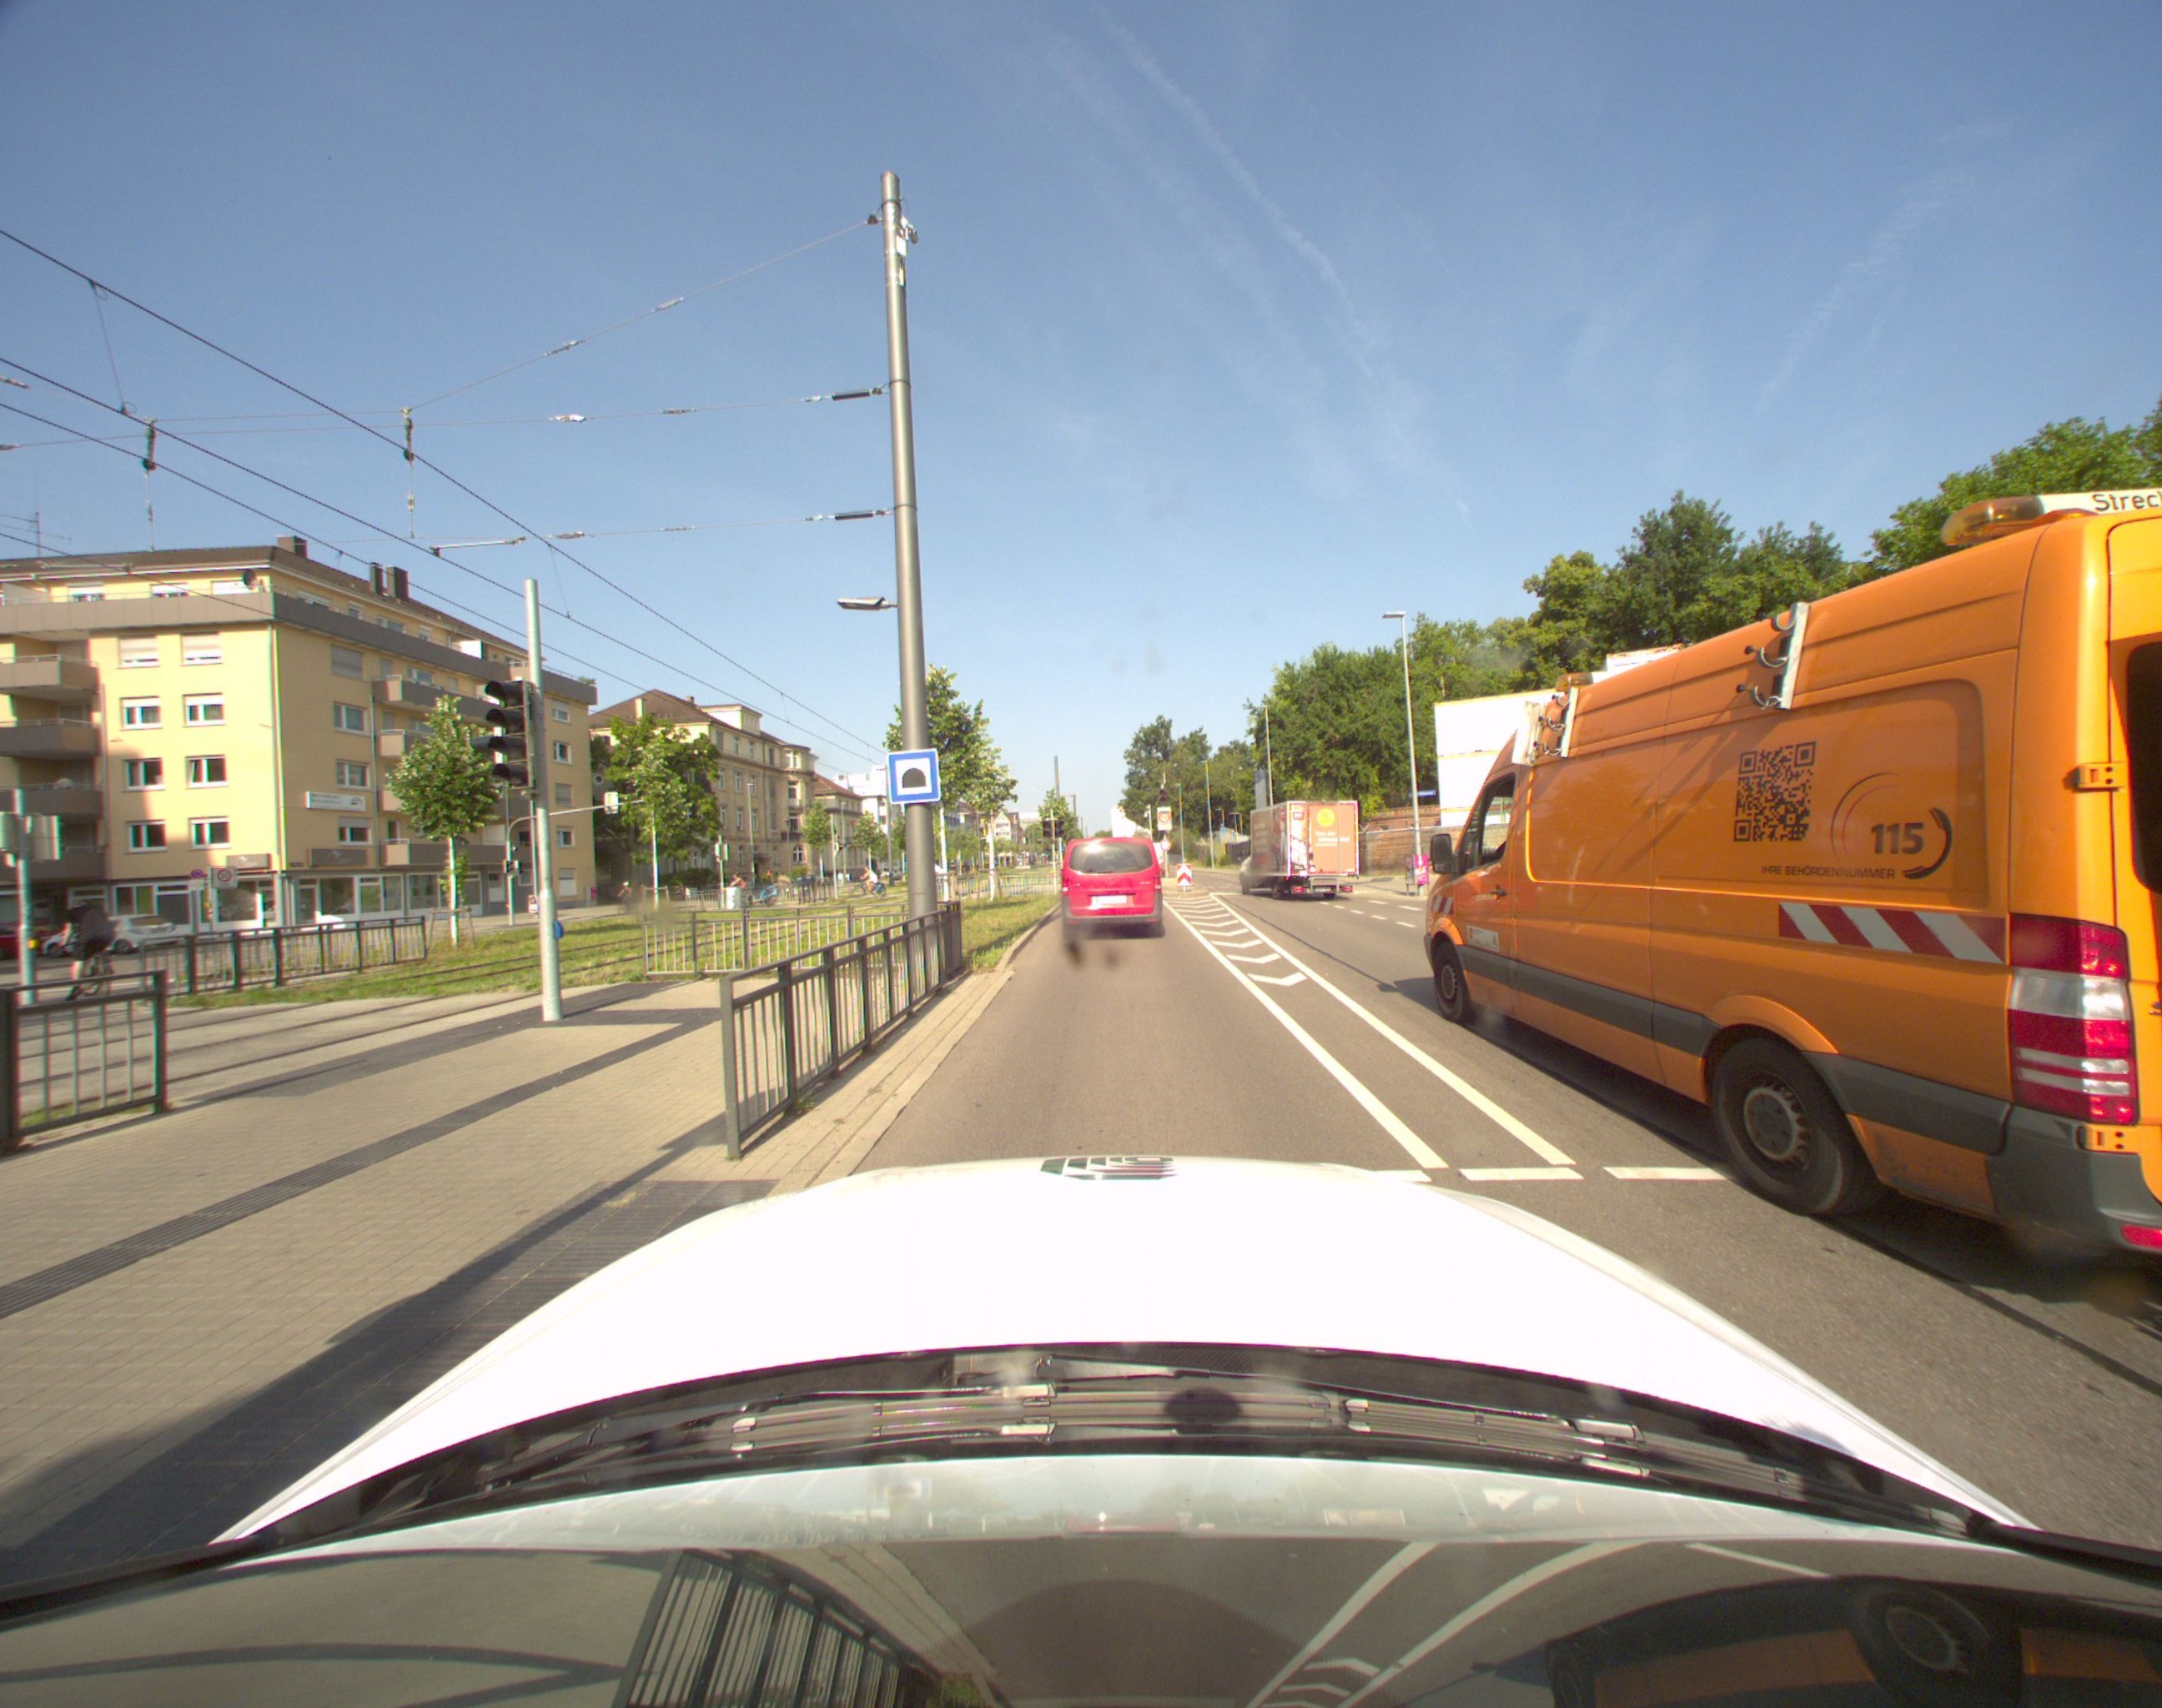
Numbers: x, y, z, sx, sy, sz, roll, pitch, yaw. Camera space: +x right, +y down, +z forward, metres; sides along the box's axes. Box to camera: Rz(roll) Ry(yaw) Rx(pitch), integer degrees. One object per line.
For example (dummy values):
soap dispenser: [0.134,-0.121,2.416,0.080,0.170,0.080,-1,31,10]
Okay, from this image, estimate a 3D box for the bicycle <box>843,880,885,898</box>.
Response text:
bicycle: [-11.349,1.824,42.634,1.997,0.793,0.627,-3,0,-11]

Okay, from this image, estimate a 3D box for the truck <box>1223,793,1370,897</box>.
truck: [7.051,-0.214,27.935,2.497,3.061,7.808,-1,-1,-4]

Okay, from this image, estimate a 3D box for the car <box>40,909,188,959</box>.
car: [-38.747,3.194,32.707,3.614,1.583,1.708,-3,2,-2]

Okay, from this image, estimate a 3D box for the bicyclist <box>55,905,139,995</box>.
bicyclist: [-16.649,1.621,13.780,0.962,1.395,0.549,-6,0,22]

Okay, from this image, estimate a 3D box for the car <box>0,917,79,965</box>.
car: [-43.319,3.547,32.709,3.777,1.688,1.773,-3,-1,-2]

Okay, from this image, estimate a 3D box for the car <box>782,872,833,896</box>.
car: [-19.212,2.082,57.384,1.987,1.513,4.397,-3,-1,0]

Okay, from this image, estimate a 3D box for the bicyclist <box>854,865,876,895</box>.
bicyclist: [-11.299,1.351,42.648,0.984,1.500,0.618,-3,0,-11]

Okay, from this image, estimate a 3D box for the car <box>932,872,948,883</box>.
car: [-23.568,3.896,136.420,1.910,1.813,4.002,-1,-1,2]

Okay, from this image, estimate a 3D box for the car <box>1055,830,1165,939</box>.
car: [0.632,0.548,16.265,1.893,1.859,4.004,-1,0,3]

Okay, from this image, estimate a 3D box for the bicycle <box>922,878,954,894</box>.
bicycle: [-7.411,1.658,42.262,0.711,0.798,1.613,-1,-1,30]

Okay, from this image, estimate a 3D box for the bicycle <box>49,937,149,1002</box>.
bicycle: [-16.646,1.952,13.800,1.593,0.935,0.560,-6,0,22]

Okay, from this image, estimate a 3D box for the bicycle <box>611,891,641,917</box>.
bicycle: [-25.212,2.757,45.113,0.693,1.346,1.755,-3,-1,-3]

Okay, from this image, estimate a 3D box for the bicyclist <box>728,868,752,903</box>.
bicyclist: [-16.525,1.512,39.486,0.895,1.628,0.884,-3,-1,-30]

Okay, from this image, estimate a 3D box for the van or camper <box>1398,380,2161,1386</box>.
van or camper: [3.870,0.059,4.871,1.977,2.472,6.069,-1,0,4]

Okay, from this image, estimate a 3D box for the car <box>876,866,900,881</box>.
car: [-27.596,2.818,116.540,2.242,2.014,5.261,-1,-2,0]

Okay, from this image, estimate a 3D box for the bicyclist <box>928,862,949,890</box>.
bicyclist: [-7.400,1.133,42.293,0.679,1.440,0.811,-2,-1,30]

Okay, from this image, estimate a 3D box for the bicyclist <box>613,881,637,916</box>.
bicyclist: [-25.228,2.449,45.074,0.667,1.805,1.082,-3,-1,-4]

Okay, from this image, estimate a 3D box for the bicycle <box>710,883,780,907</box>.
bicycle: [-16.308,1.986,39.580,3.006,0.965,0.892,-3,-1,-30]
